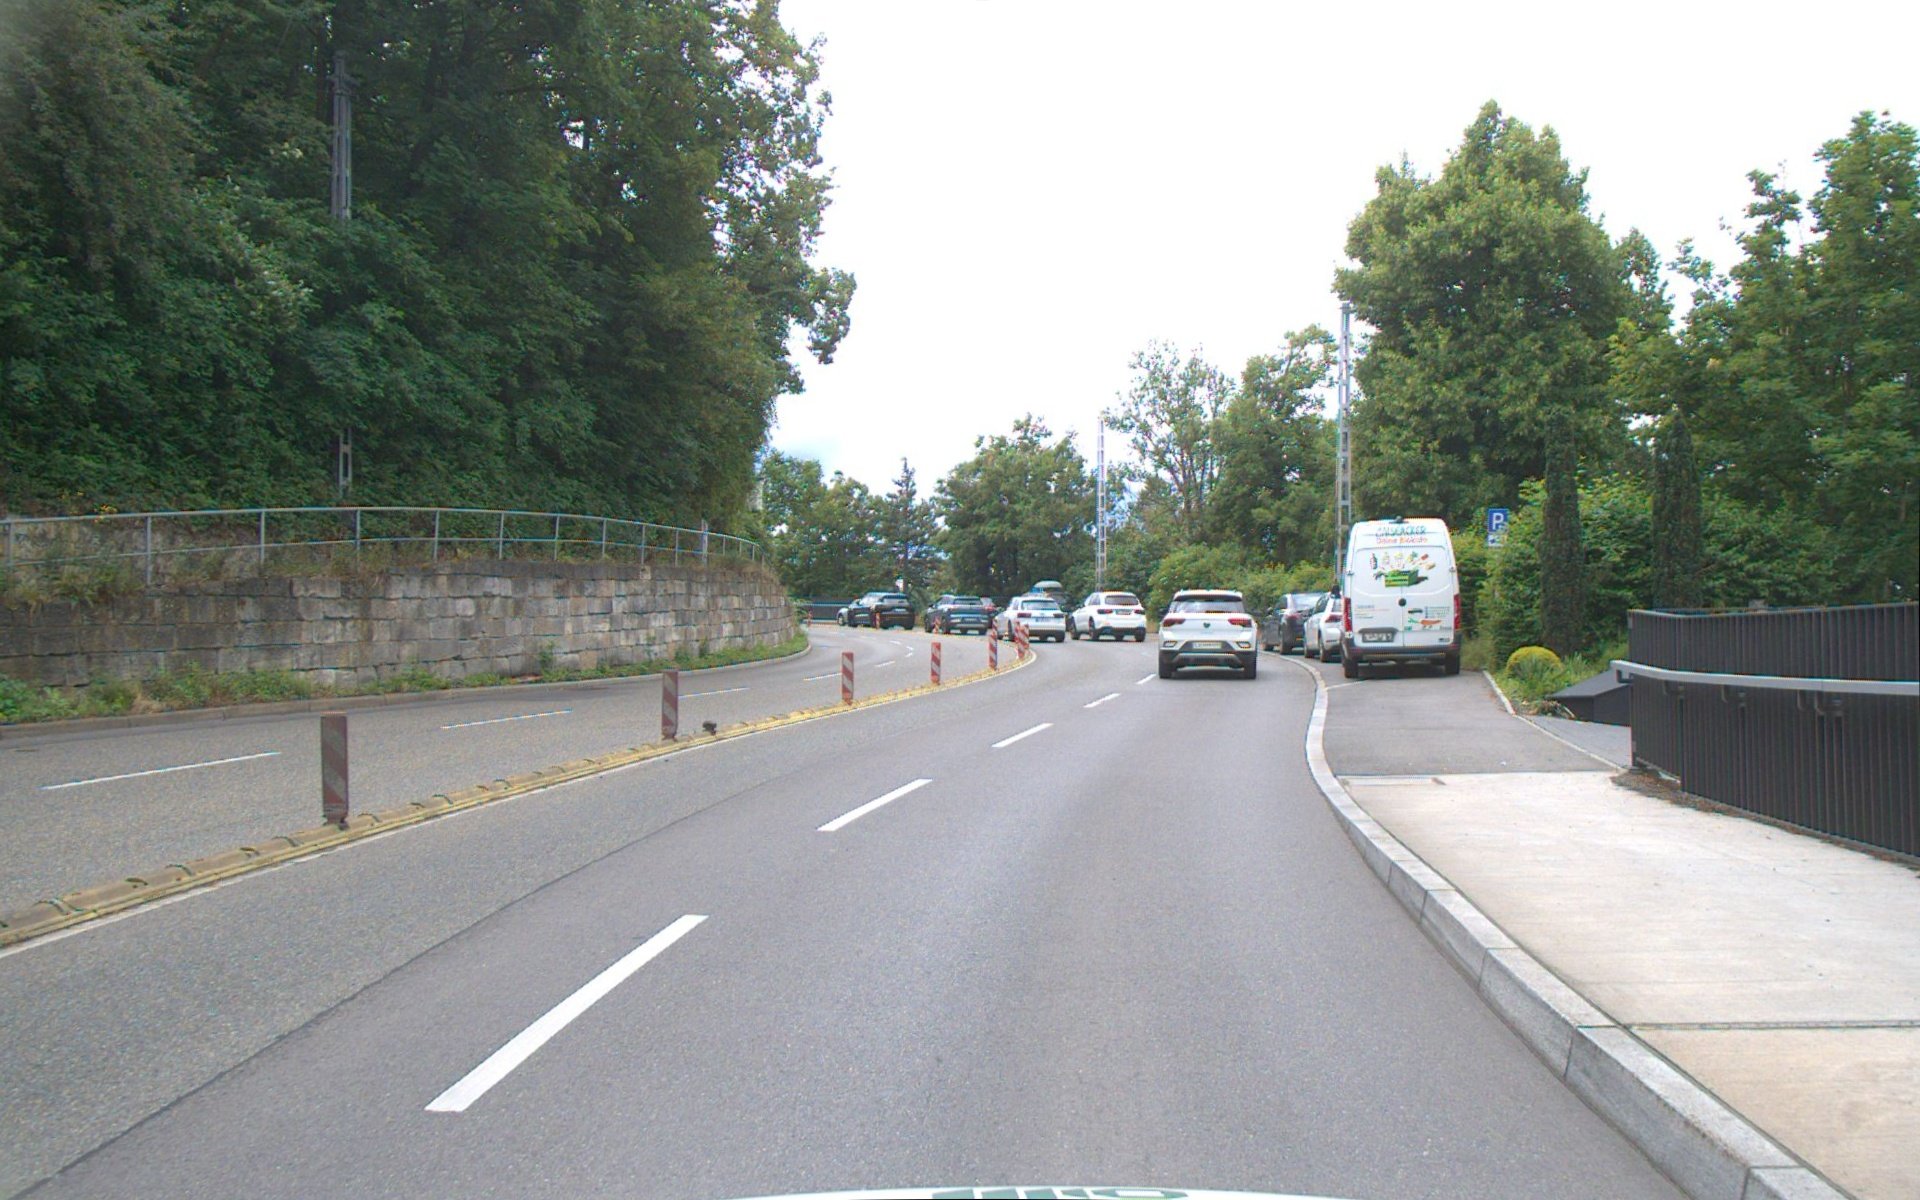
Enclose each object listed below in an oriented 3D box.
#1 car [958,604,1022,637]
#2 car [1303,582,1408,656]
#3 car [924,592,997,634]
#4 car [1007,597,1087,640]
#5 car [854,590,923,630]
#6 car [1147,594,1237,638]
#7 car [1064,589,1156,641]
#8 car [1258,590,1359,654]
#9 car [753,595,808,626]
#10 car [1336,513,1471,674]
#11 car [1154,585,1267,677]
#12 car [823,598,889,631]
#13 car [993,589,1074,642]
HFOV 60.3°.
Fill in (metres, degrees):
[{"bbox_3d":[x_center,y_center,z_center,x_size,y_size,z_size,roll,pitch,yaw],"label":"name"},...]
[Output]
[{"bbox_3d":[1.429,0.966,79.416,1.636,1.513,4.008,2,-1,-22],"label":"car"},{"bbox_3d":[8.474,0.410,35.709,1.664,1.490,3.837,-1,-1,5],"label":"car"},{"bbox_3d":[-0.008,0.520,66.871,1.960,1.568,3.995,3,-1,-14],"label":"car"},{"bbox_3d":[3.856,0.816,73.939,1.774,1.803,4.575,2,-1,-22],"label":"car"},{"bbox_3d":[-3.327,0.475,76.673,1.792,1.719,3.969,3,-1,-24],"label":"car"},{"bbox_3d":[8.061,0.547,57.773,1.747,1.443,3.984,-1,0,-15],"label":"car"},{"bbox_3d":[5.058,0.502,56.439,1.959,1.614,3.987,3,-1,-13],"label":"car"},{"bbox_3d":[8.506,0.512,40.745,1.665,1.489,4.665,0,0,2],"label":"car"},{"bbox_3d":[-10.156,0.594,93.328,1.864,1.639,3.970,3,-1,-24],"label":"car"},{"bbox_3d":[7.931,-0.089,30.055,2.040,2.567,5.849,-2,-1,13],"label":"car"},{"bbox_3d":[4.679,0.544,30.479,1.827,1.563,3.806,1,0,12],"label":"car"},{"bbox_3d":[-5.391,0.733,85.201,1.806,1.550,3.960,3,-1,-29],"label":"car"},{"bbox_3d":[2.411,0.521,55.100,1.871,1.601,3.991,3,-1,-9],"label":"car"}]
